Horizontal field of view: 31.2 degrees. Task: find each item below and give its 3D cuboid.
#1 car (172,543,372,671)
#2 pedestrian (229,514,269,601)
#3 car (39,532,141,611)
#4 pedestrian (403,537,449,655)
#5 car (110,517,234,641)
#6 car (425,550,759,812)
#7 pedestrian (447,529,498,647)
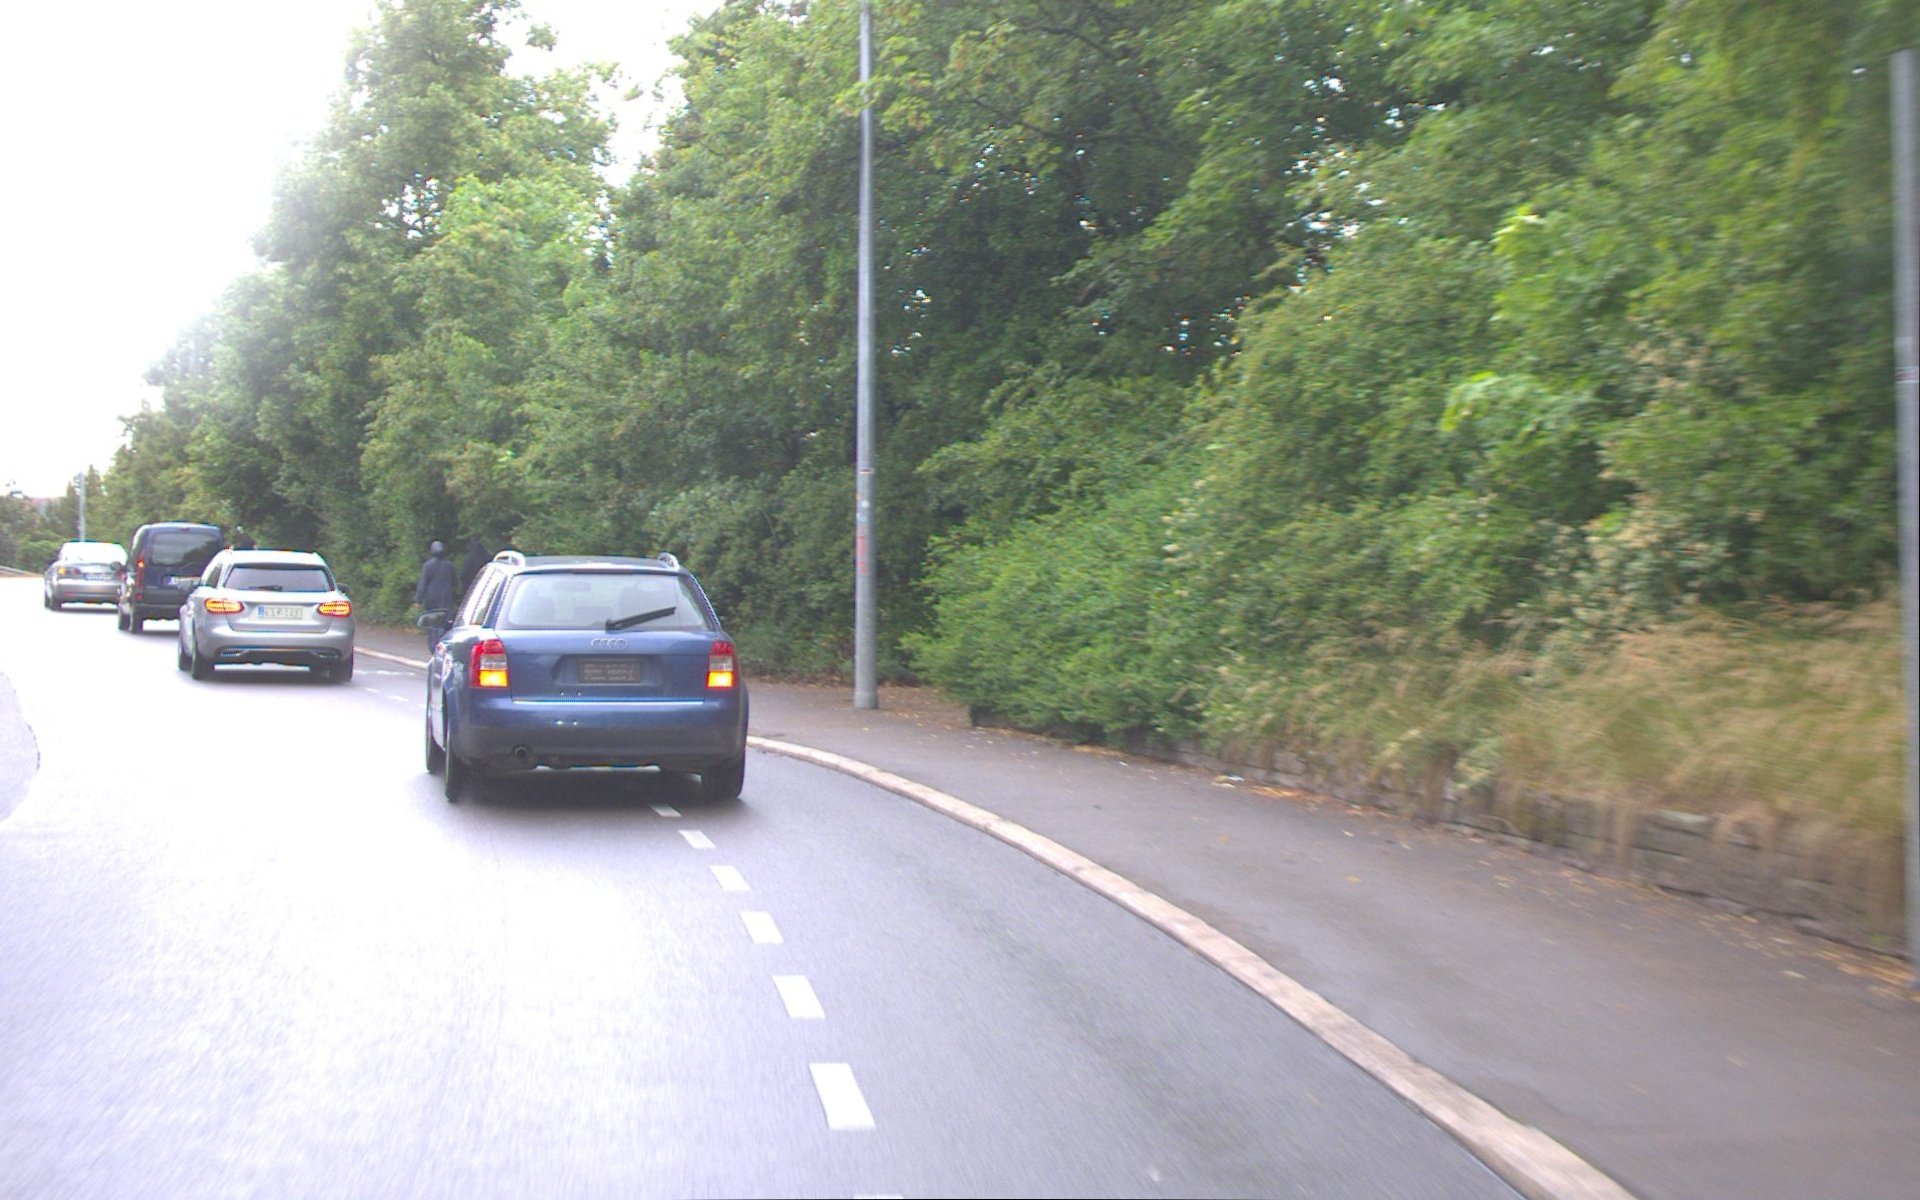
[{"bbox_3d":[-8.007,0.048,39.771,1.890,1.384,4.001,0,1,-17],"label":"car"},{"bbox_3d":[-15.148,-0.917,73.238,0.716,1.828,1.022,-1,1,-16],"label":"pedestrian"},{"bbox_3d":[-18.360,-0.617,72.461,1.821,1.611,3.786,-1,1,-18],"label":"car"},{"bbox_3d":[-7.115,-0.053,45.813,0.552,1.561,0.487,-1,1,-13],"label":"pedestrian"},{"bbox_3d":[-13.311,-0.329,57.954,1.788,1.947,4.001,-3,0,-15],"label":"car"},{"bbox_3d":[-2.340,0.427,21.021,1.746,1.403,4.001,1,1,-10],"label":"car"},{"bbox_3d":[-6.508,-0.168,45.901,0.595,1.561,0.669,1,1,-13],"label":"pedestrian"}]
